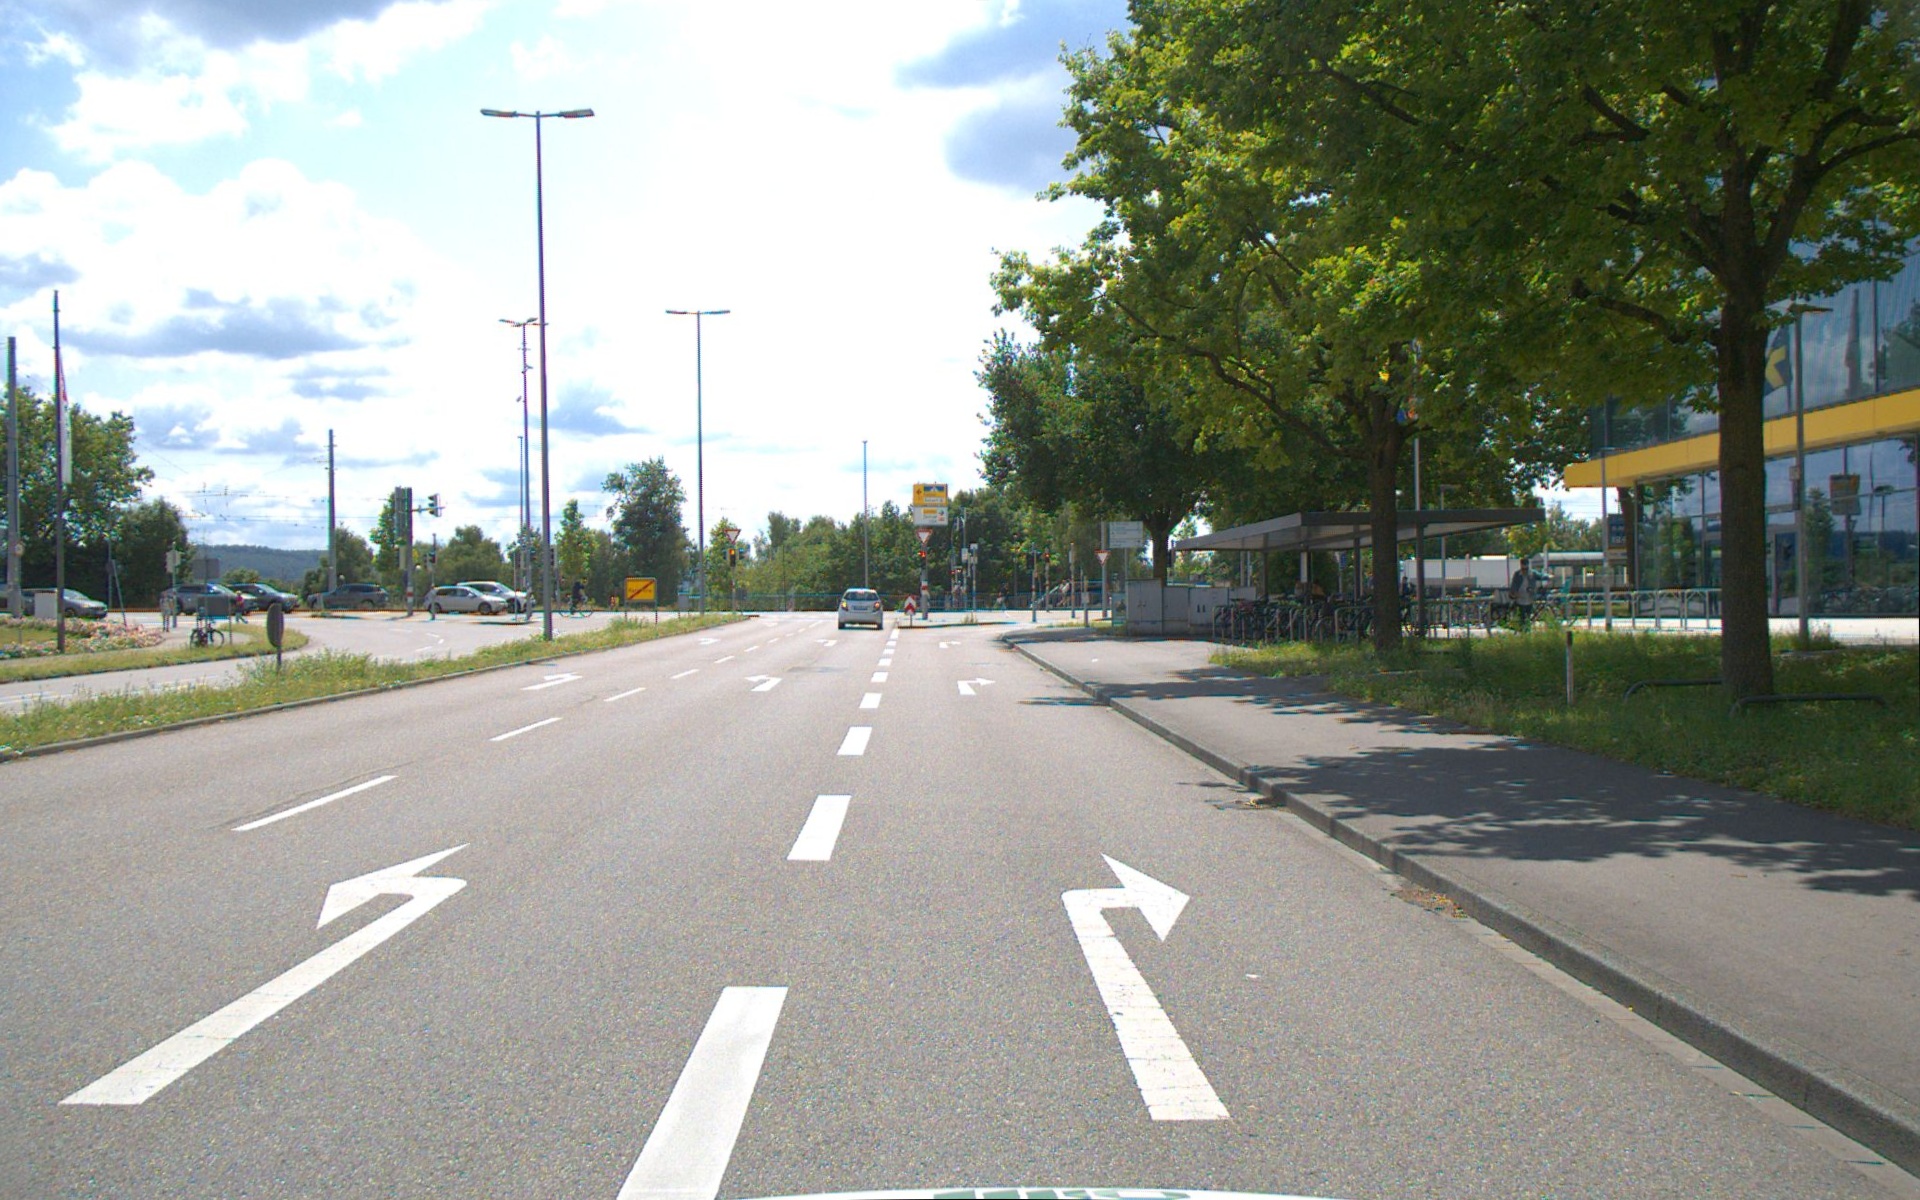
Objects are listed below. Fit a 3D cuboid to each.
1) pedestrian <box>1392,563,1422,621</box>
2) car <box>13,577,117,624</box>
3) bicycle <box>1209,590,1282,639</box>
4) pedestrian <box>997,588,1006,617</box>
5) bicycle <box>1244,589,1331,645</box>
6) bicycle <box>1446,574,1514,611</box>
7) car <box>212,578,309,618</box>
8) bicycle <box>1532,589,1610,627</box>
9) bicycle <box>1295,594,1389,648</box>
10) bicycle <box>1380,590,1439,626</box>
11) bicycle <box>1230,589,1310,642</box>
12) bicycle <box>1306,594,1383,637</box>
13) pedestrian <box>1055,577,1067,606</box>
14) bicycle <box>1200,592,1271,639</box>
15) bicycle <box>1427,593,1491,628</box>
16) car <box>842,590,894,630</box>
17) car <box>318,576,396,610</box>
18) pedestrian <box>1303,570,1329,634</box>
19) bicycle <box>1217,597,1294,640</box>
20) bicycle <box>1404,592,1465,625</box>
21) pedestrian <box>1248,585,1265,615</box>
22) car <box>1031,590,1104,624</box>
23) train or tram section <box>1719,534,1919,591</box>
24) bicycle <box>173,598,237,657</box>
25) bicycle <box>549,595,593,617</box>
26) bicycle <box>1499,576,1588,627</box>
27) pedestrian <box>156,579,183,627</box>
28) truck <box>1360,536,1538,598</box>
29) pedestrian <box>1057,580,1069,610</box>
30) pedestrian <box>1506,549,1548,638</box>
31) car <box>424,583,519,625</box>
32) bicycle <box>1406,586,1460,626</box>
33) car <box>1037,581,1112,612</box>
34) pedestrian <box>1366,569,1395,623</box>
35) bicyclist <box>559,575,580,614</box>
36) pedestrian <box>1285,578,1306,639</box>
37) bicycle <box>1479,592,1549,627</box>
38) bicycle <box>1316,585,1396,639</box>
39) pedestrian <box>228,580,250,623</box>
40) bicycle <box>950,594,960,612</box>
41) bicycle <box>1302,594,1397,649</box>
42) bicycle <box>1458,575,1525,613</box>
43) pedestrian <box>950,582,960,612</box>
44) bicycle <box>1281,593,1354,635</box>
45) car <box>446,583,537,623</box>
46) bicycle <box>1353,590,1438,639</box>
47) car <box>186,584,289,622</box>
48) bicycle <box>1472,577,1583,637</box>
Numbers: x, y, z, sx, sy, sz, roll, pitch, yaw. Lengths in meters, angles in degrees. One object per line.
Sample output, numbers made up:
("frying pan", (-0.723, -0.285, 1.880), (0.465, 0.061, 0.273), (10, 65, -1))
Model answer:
("pedestrian", (16.499, -0.276, 61.094), (0.986, 2.109, 0.975), (-1, -2, 13))
("car", (-41.370, 0.008, 76.483), (3.902, 2.049, 2.002), (-2, 0, 15))
("bicycle", (7.536, 0.387, 43.702), (1.826, 1.208, 0.423), (-2, 0, -7))
("pedestrian", (2.513, 0.136, 99.903), (0.512, 1.751, 0.730), (-2, 0, 2))
("bicycle", (7.492, 0.381, 37.857), (1.857, 1.190, 0.424), (-2, 0, -1))
("bicycle", (14.967, -0.218, 47.600), (1.826, 1.012, 0.423), (-2, 0, -7))
("car", (-37.195, -0.097, 88.069), (4.261, 2.024, 1.999), (-1, 0, -3))
("bicycle", (15.744, 0.200, 42.607), (1.824, 0.897, 0.470), (-2, 0, -2))
("bicycle", (7.947, 0.441, 34.433), (1.826, 1.012, 0.423), (-3, 0, -7))
("bicycle", (14.812, 0.264, 54.476), (1.891, 1.127, 0.501), (-2, -2, -20))
("bicycle", (7.501, 0.364, 40.085), (1.826, 1.208, 0.423), (-2, 0, -7))
("bicycle", (9.626, 0.383, 41.433), (1.826, 1.012, 0.423), (-2, -2, -7))
("pedestrian", (6.242, -0.524, 101.947), (0.691, 1.751, 0.601), (-2, 0, 1))
("bicycle", (7.495, 0.424, 45.019), (1.826, 1.208, 0.423), (-2, 0, -7))
("bicycle", (15.294, 0.324, 50.662), (1.826, 1.012, 0.464), (-1, 0, -6))
("car", (-3.509, 0.360, 63.801), (1.856, 1.495, 3.832), (1, 0, -1))
("car", (-37.736, -0.413, 103.599), (4.271, 2.024, 1.995), (-1, 0, -11))
("pedestrian", (9.631, 0.050, 44.765), (0.533, 1.691, 0.478), (-1, 0, -3))
("bicycle", (7.412, 0.455, 41.513), (1.826, 1.012, 0.423), (-2, 0, -7))
("bicycle", (15.283, 0.272, 53.280), (1.824, 1.012, 0.424), (-2, 0, 0))
("pedestrian", (18.319, 0.003, 102.258), (0.908, 1.839, 0.736), (-1, 0, -3))
("car", (6.127, 0.367, 94.523), (3.908, 1.814, 1.908), (-2, 0, -4))
("train or tram section", (52.938, -2.243, 99.289), (13.780, 3.242, 3.044), (0, 0, -5))
("bicycle", (-22.930, 0.823, 50.289), (0.997, 1.704, 2.048), (-2, 0, -1))
("bicycle", (-18.987, 0.295, 80.763), (1.976, 1.016, 0.622), (1, 0, -2))
("bicycle", (15.421, 0.046, 43.761), (2.094, 1.251, 0.721), (-2, 0, 8))
("pedestrian", (-31.472, 0.111, 65.830), (0.855, 1.870, 0.790), (2, -1, -30))
("truck", (34.459, -2.292, 116.855), (11.715, 4.176, 2.951), (-1, 0, -2))
("pedestrian", (6.310, -0.300, 101.237), (0.662, 1.778, 0.637), (-1, 2, 1))
("pedestrian", (11.506, -0.126, 33.549), (0.622, 1.752, 0.523), (-3, -2, 34))
("car", (-25.120, 0.199, 85.185), (4.261, 2.024, 1.999), (-1, 0, -3))
("bicycle", (14.937, 0.189, 52.238), (1.649, 1.177, 0.459), (-2, 0, -16))
("car", (7.304, -0.242, 105.650), (4.558, 1.852, 1.999), (-1, 0, -2))
("pedestrian", (15.372, -0.142, 60.493), (0.986, 1.935, 0.975), (-1, -1, 12))
("bicyclist", (-19.062, -0.256, 80.766), (0.902, 1.878, 0.611), (-1, 0, -2))
("pedestrian", (9.295, 0.234, 45.828), (0.532, 1.691, 0.546), (-1, 0, 8))
("bicycle", (15.462, 0.273, 46.164), (1.826, 0.897, 0.423), (-2, 0, -7))
("bicycle", (9.615, 0.288, 40.207), (1.826, 1.253, 0.423), (-2, 0, -7))
("pedestrian", (-31.889, 0.062, 73.139), (0.787, 1.870, 0.858), (2, -1, -30))
("bicycle", (-0.305, 0.174, 102.230), (0.606, 1.106, 1.722), (-1, 0, 0))
("bicycle", (7.992, 0.437, 33.945), (1.826, 1.012, 0.423), (-3, 0, -7))
("bicycle", (15.693, -0.173, 48.844), (1.826, 1.012, 0.423), (-3, -1, -7))
("pedestrian", (-0.307, -0.192, 102.195), (0.598, 1.800, 0.672), (-1, 0, 0))
("bicycle", (9.501, 0.375, 43.993), (1.824, 1.052, 0.424), (-2, 0, 0))
("car", (-24.903, 0.161, 88.037), (4.261, 2.024, 1.999), (-1, 0, -3))
("bicycle", (10.036, 0.334, 38.118), (1.826, 1.012, 0.423), (-3, -1, -7))
("car", (-37.234, 0.170, 85.354), (4.414, 1.704, 1.903), (-3, -1, -2))
("bicycle", (11.352, 0.146, 33.111), (1.974, 1.127, 0.575), (-3, -1, 37))
